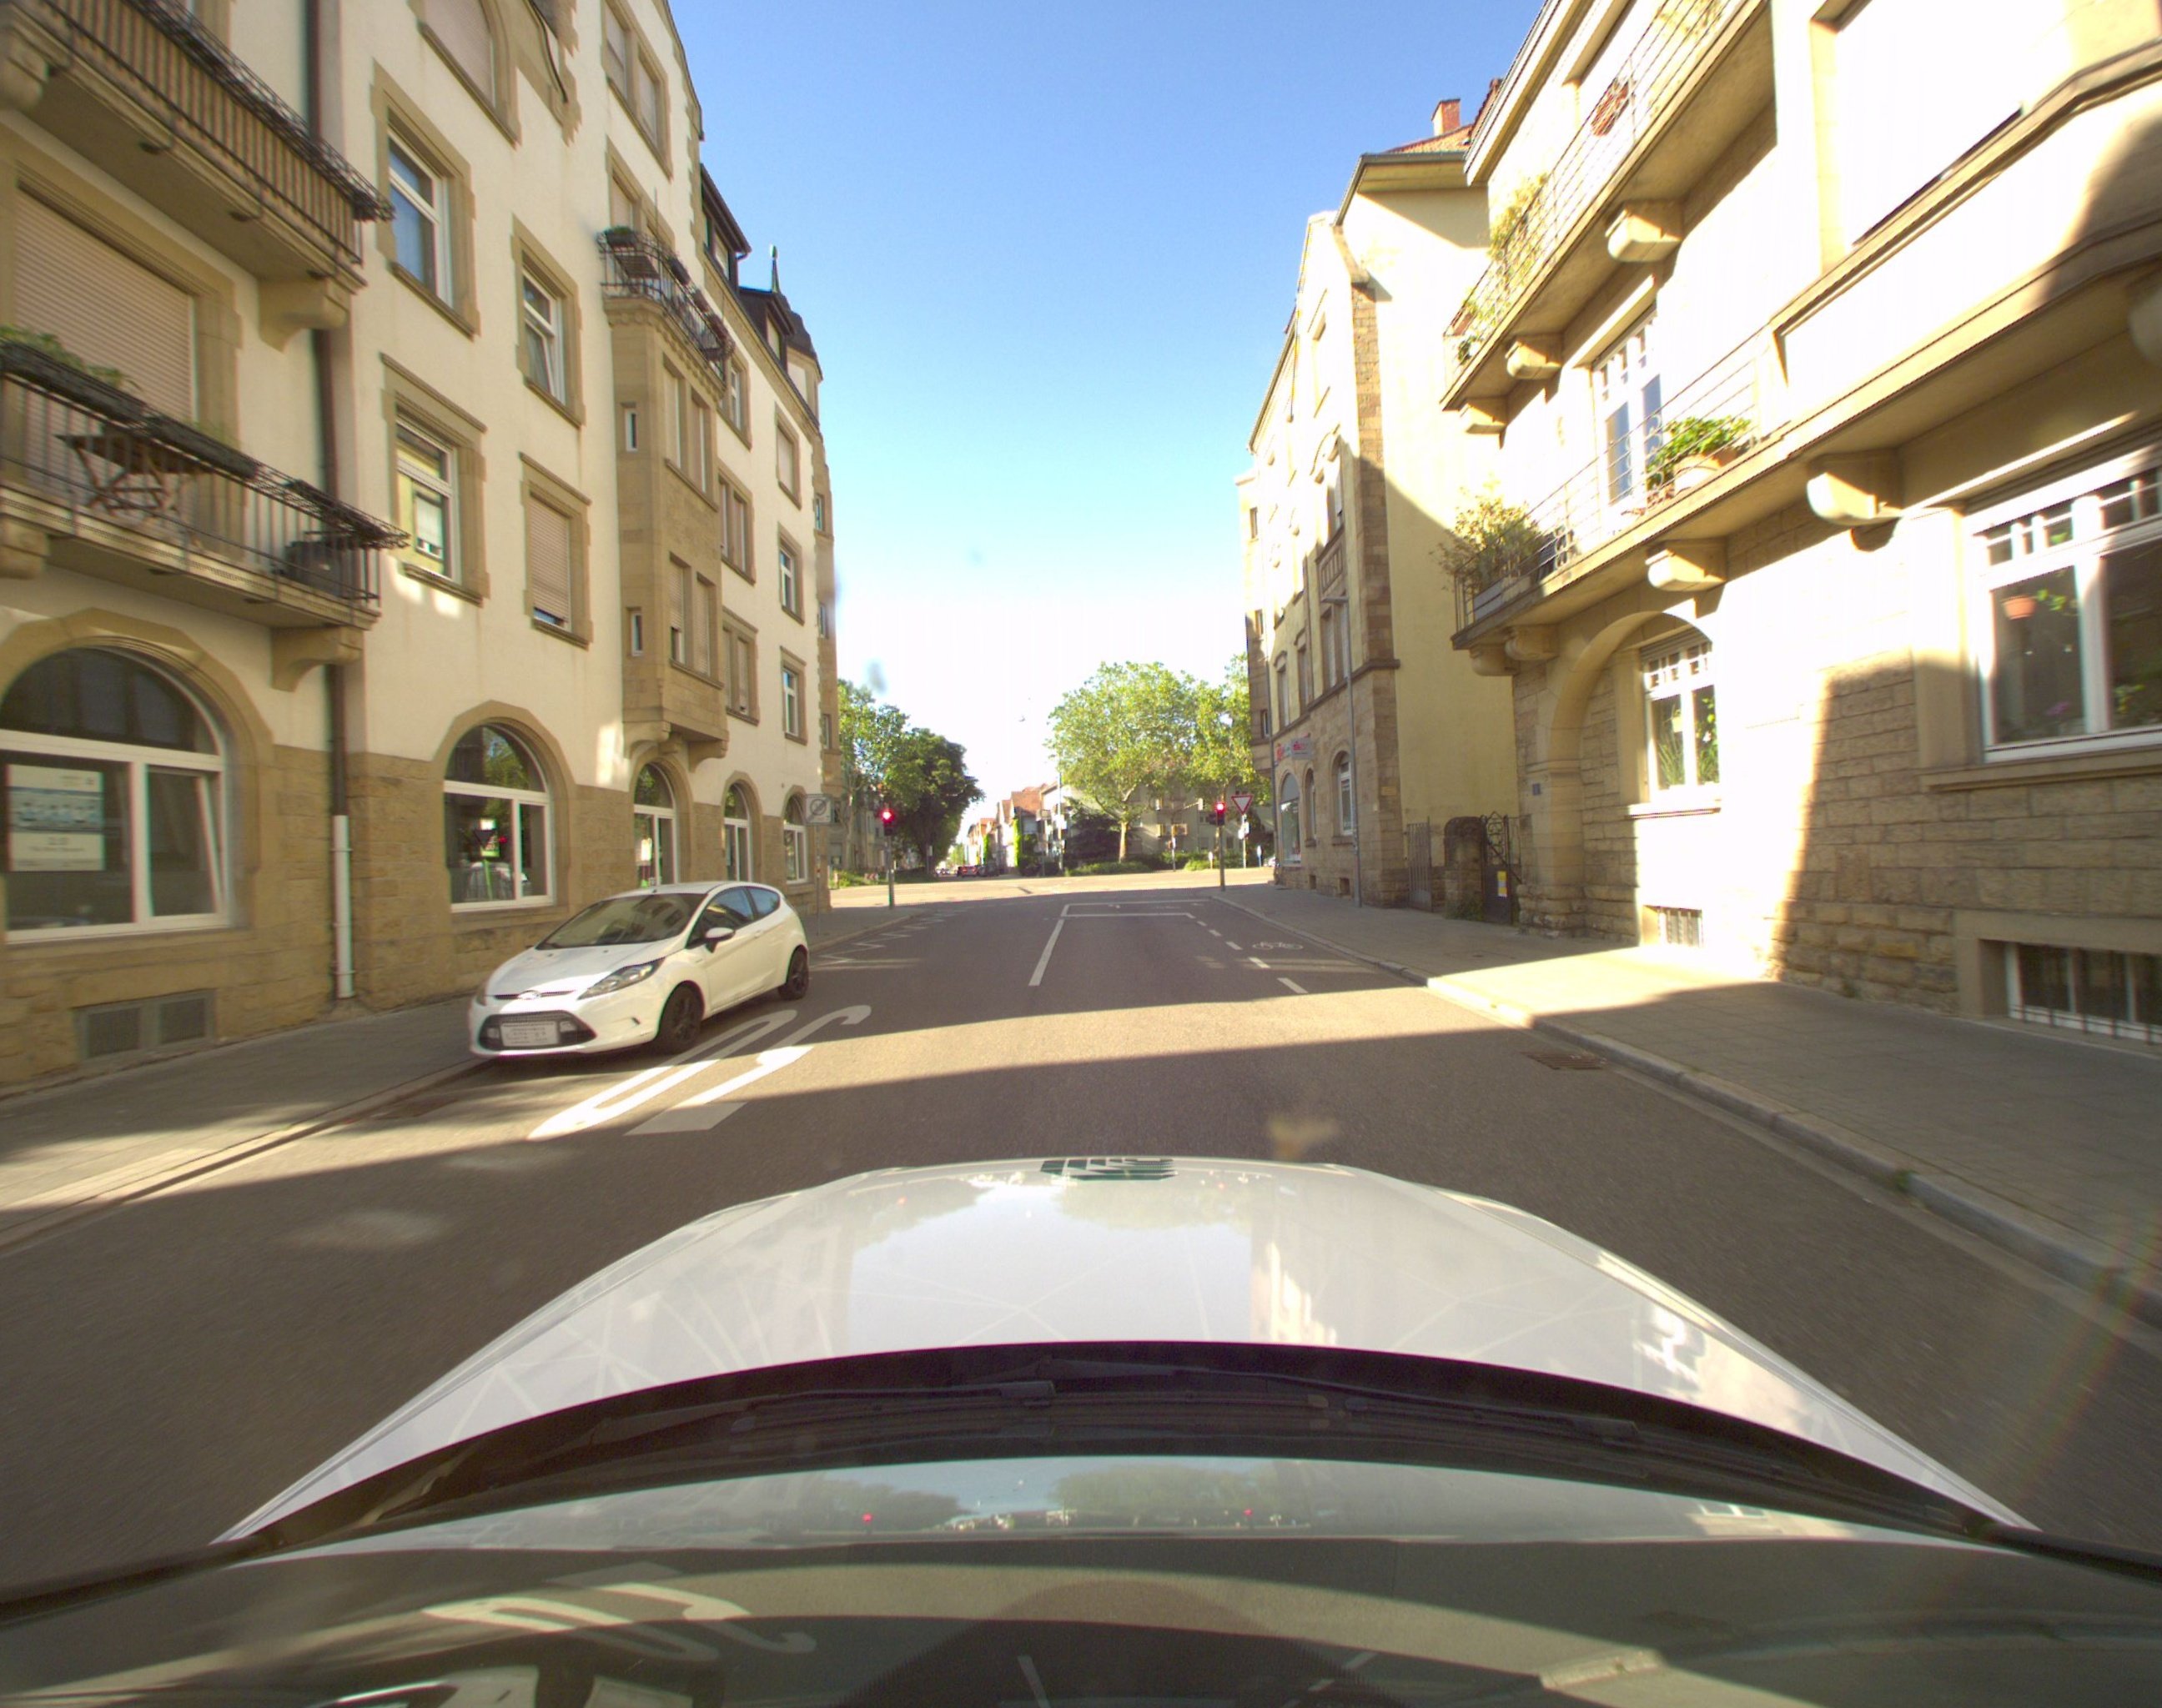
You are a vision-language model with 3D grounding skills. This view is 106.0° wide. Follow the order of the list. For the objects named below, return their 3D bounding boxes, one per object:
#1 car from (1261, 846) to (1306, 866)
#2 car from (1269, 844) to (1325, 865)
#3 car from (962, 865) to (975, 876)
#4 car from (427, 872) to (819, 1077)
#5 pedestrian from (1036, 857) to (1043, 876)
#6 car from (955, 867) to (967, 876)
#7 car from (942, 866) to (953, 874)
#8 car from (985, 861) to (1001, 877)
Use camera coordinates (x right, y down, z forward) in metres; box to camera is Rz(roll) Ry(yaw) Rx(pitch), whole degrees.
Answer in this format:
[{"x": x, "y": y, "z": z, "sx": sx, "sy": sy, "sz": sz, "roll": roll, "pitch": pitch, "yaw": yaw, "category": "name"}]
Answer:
[{"x": 17.190, "y": 0.166, "z": 69.070, "sx": 3.391, "sy": 1.487, "sz": 1.515, "roll": -3, "pitch": 0, "yaw": -20, "category": "car"}, {"x": 16.544, "y": 0.039, "z": 62.328, "sx": 3.797, "sy": 1.472, "sz": 1.620, "roll": -3, "pitch": 0, "yaw": -18, "category": "car"}, {"x": -15.877, "y": 2.382, "z": 115.117, "sx": 1.674, "sy": 1.483, "sz": 3.509, "roll": -1, "pitch": -1, "yaw": -10, "category": "car"}, {"x": -4.195, "y": 0.988, "z": 8.241, "sx": 1.627, "sy": 1.464, "sz": 3.738, "roll": -2, "pitch": 0, "yaw": 4, "category": "car"}, {"x": -3.923, "y": 1.175, "z": 76.605, "sx": 0.631, "sy": 1.750, "sz": 0.659, "roll": -1, "pitch": -1, "yaw": -2, "category": "pedestrian"}, {"x": -20.154, "y": 2.901, "z": 136.657, "sx": 1.739, "sy": 1.336, "sz": 3.819, "roll": -3, "pitch": 0, "yaw": -11, "category": "car"}, {"x": -29.426, "y": 3.520, "z": 179.399, "sx": 1.995, "sy": 1.445, "sz": 3.984, "roll": -3, "pitch": 0, "yaw": -12, "category": "car"}, {"x": -12.015, "y": 2.067, "z": 111.429, "sx": 1.992, "sy": 2.013, "sz": 3.990, "roll": -3, "pitch": 0, "yaw": -7, "category": "car"}]
